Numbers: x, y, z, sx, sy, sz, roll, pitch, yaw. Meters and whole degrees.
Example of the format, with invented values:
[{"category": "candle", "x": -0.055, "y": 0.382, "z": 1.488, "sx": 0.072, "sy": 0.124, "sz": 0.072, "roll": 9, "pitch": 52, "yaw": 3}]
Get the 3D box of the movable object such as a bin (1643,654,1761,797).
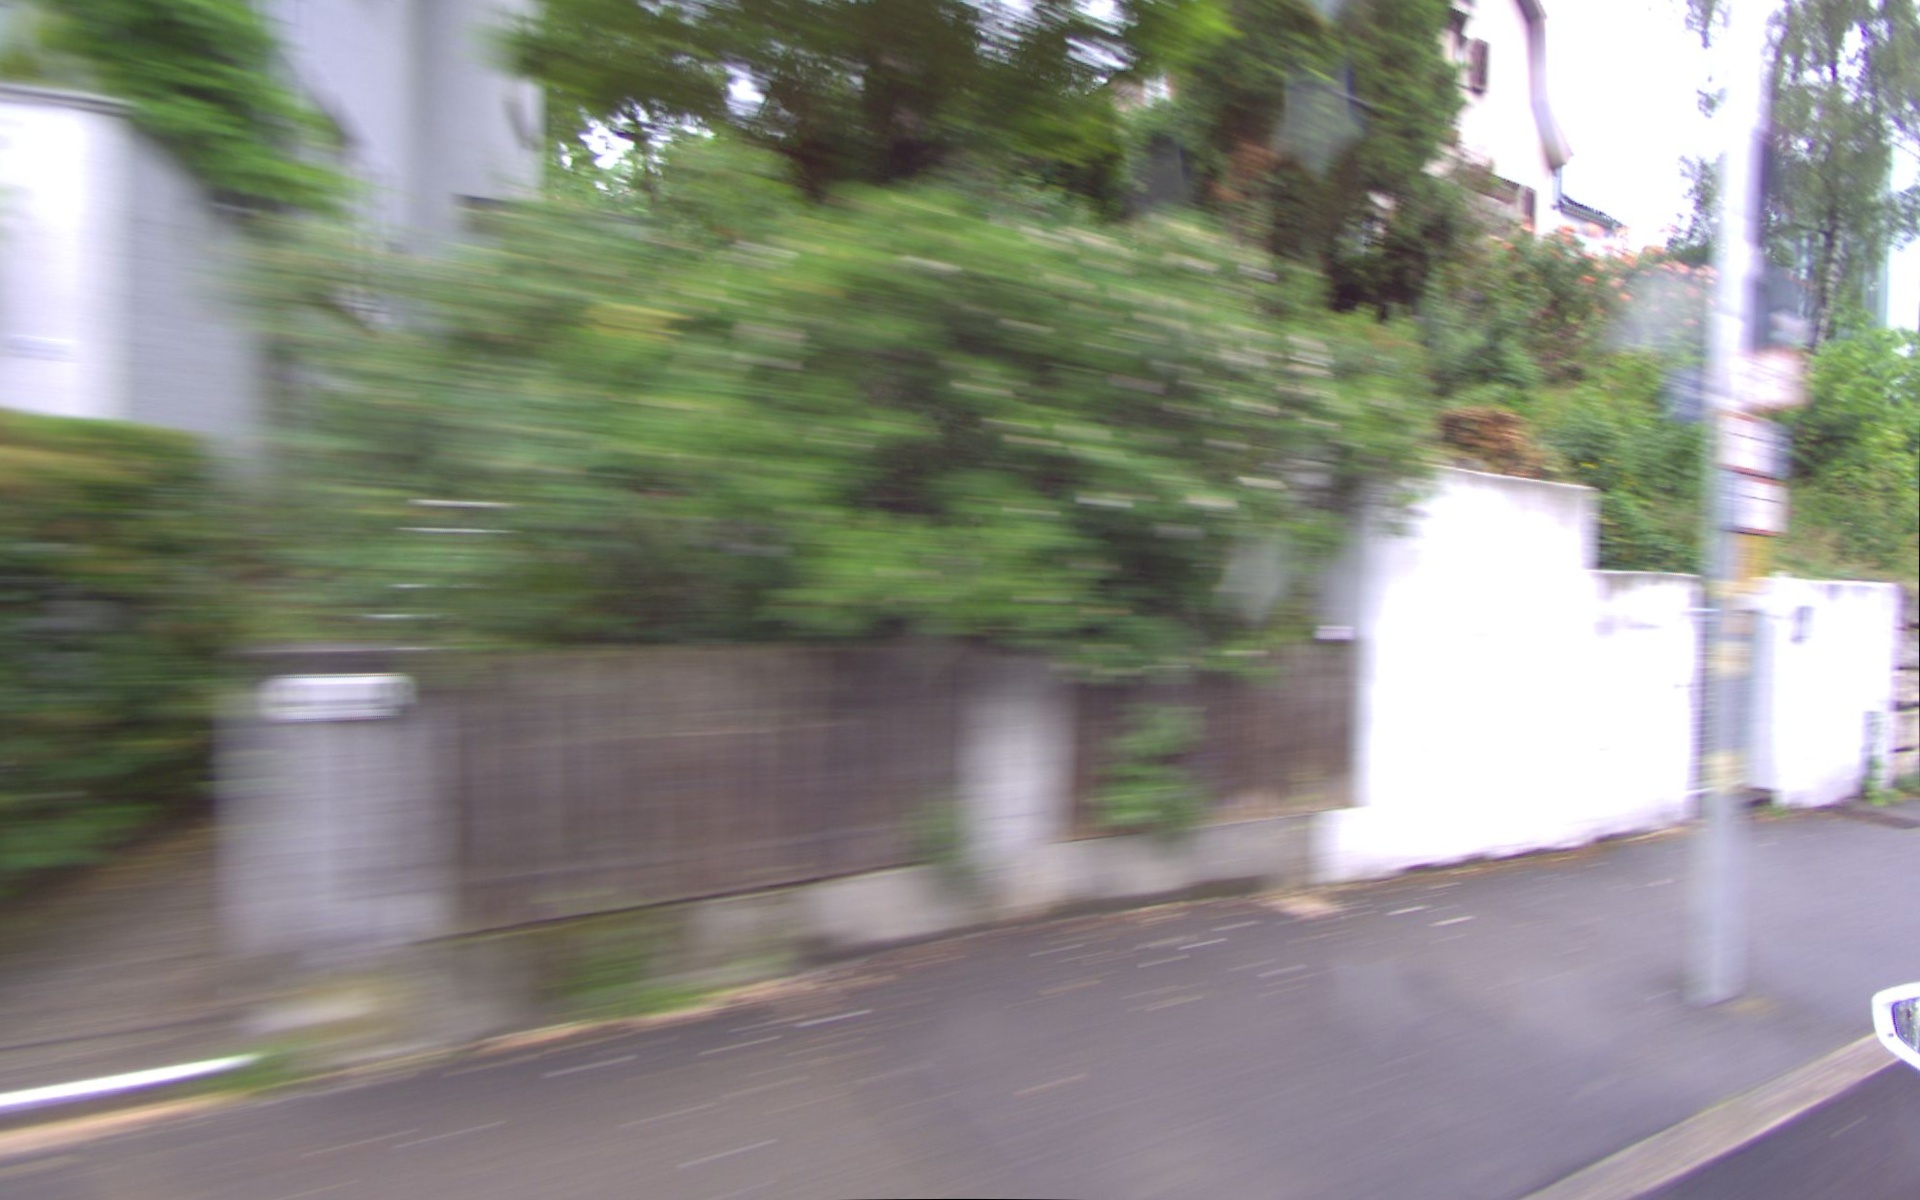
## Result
[{"category": "movable object such as a bin", "x": 5.535, "y": 0.915, "z": 7.501, "sx": 0.492, "sy": 0.978, "sz": 0.504, "roll": 2, "pitch": 2, "yaw": -30}]
